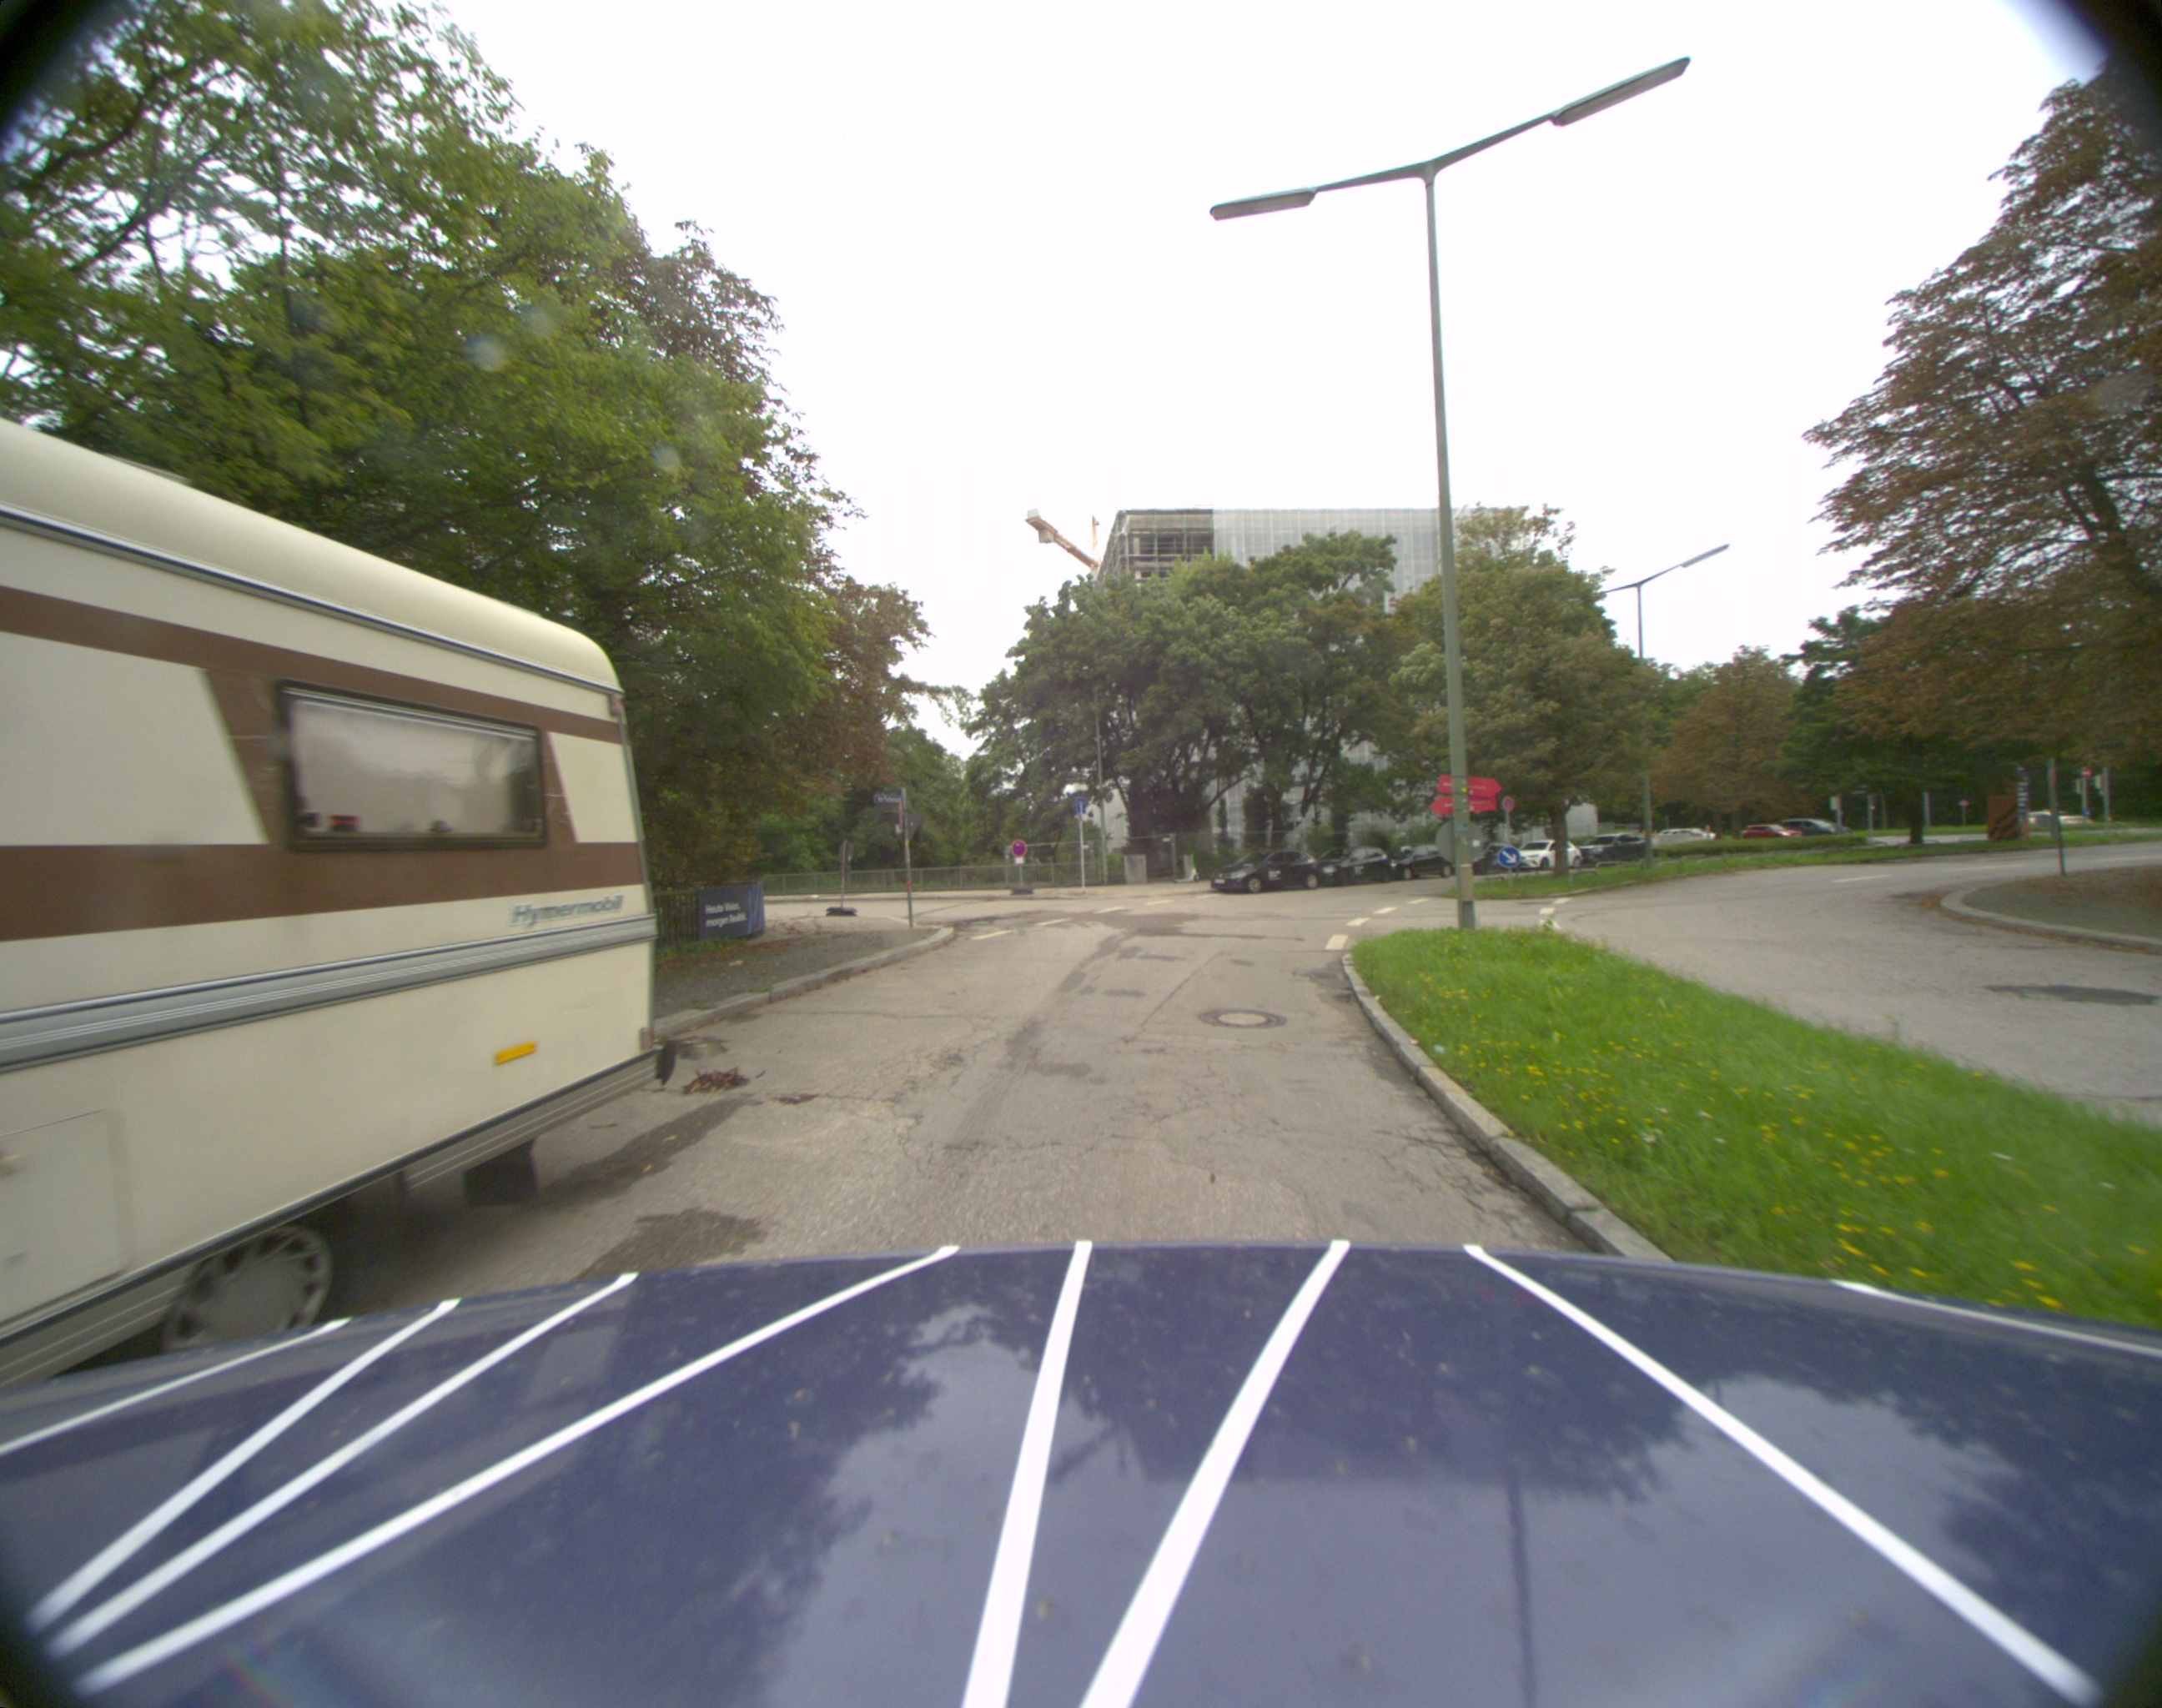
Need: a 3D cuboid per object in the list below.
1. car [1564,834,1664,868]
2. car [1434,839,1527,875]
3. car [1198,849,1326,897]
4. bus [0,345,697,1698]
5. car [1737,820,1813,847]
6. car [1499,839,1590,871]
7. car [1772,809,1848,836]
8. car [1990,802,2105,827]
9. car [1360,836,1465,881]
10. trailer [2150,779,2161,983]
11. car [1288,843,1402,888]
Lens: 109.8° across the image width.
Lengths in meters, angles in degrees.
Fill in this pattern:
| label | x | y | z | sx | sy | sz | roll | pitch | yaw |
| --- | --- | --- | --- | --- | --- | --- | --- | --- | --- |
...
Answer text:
| label | x | y | z | sx | sy | sz | roll | pitch | yaw |
| --- | --- | --- | --- | --- | --- | --- | --- | --- | --- |
| car | 26.469 | -0.147 | 37.718 | 4.400 | 1.596 | 1.889 | 0 | -1 | -20 |
| car | 17.695 | 0.138 | 33.623 | 4.012 | 1.452 | 1.836 | -2 | 0 | -31 |
| car | 6.257 | 0.585 | 26.201 | 4.049 | 1.425 | 1.995 | -2 | 2 | -31 |
| bus | -3.356 | 0.349 | 1.022 | 2.320 | 2.683 | 5.736 | -2 | 0 | 5 |
| car | 55.954 | -1.624 | 61.368 | 2.000 | 2.002 | 4.153 | -2 | 0 | -12 |
| car | 21.999 | 0.020 | 36.063 | 4.224 | 1.375 | 1.798 | -2 | 0 | -29 |
| car | 58.984 | -2.501 | 61.579 | 2.000 | 2.002 | 3.996 | -2 | 0 | -12 |
| car | 69.346 | -2.805 | 54.660 | 1.893 | 1.536 | 4.850 | -2 | 0 | -7 |
| car | 13.608 | 0.142 | 31.144 | 4.006 | 1.696 | 1.995 | -2 | 2 | -31 |
| trailer | 10.535 | 0.249 | 4.949 | 1.810 | 2.002 | 4.842 | -2 | 0 | 22 |
| car | 9.964 | 0.414 | 28.614 | 4.006 | 1.532 | 1.995 | -2 | 0 | -33 |
